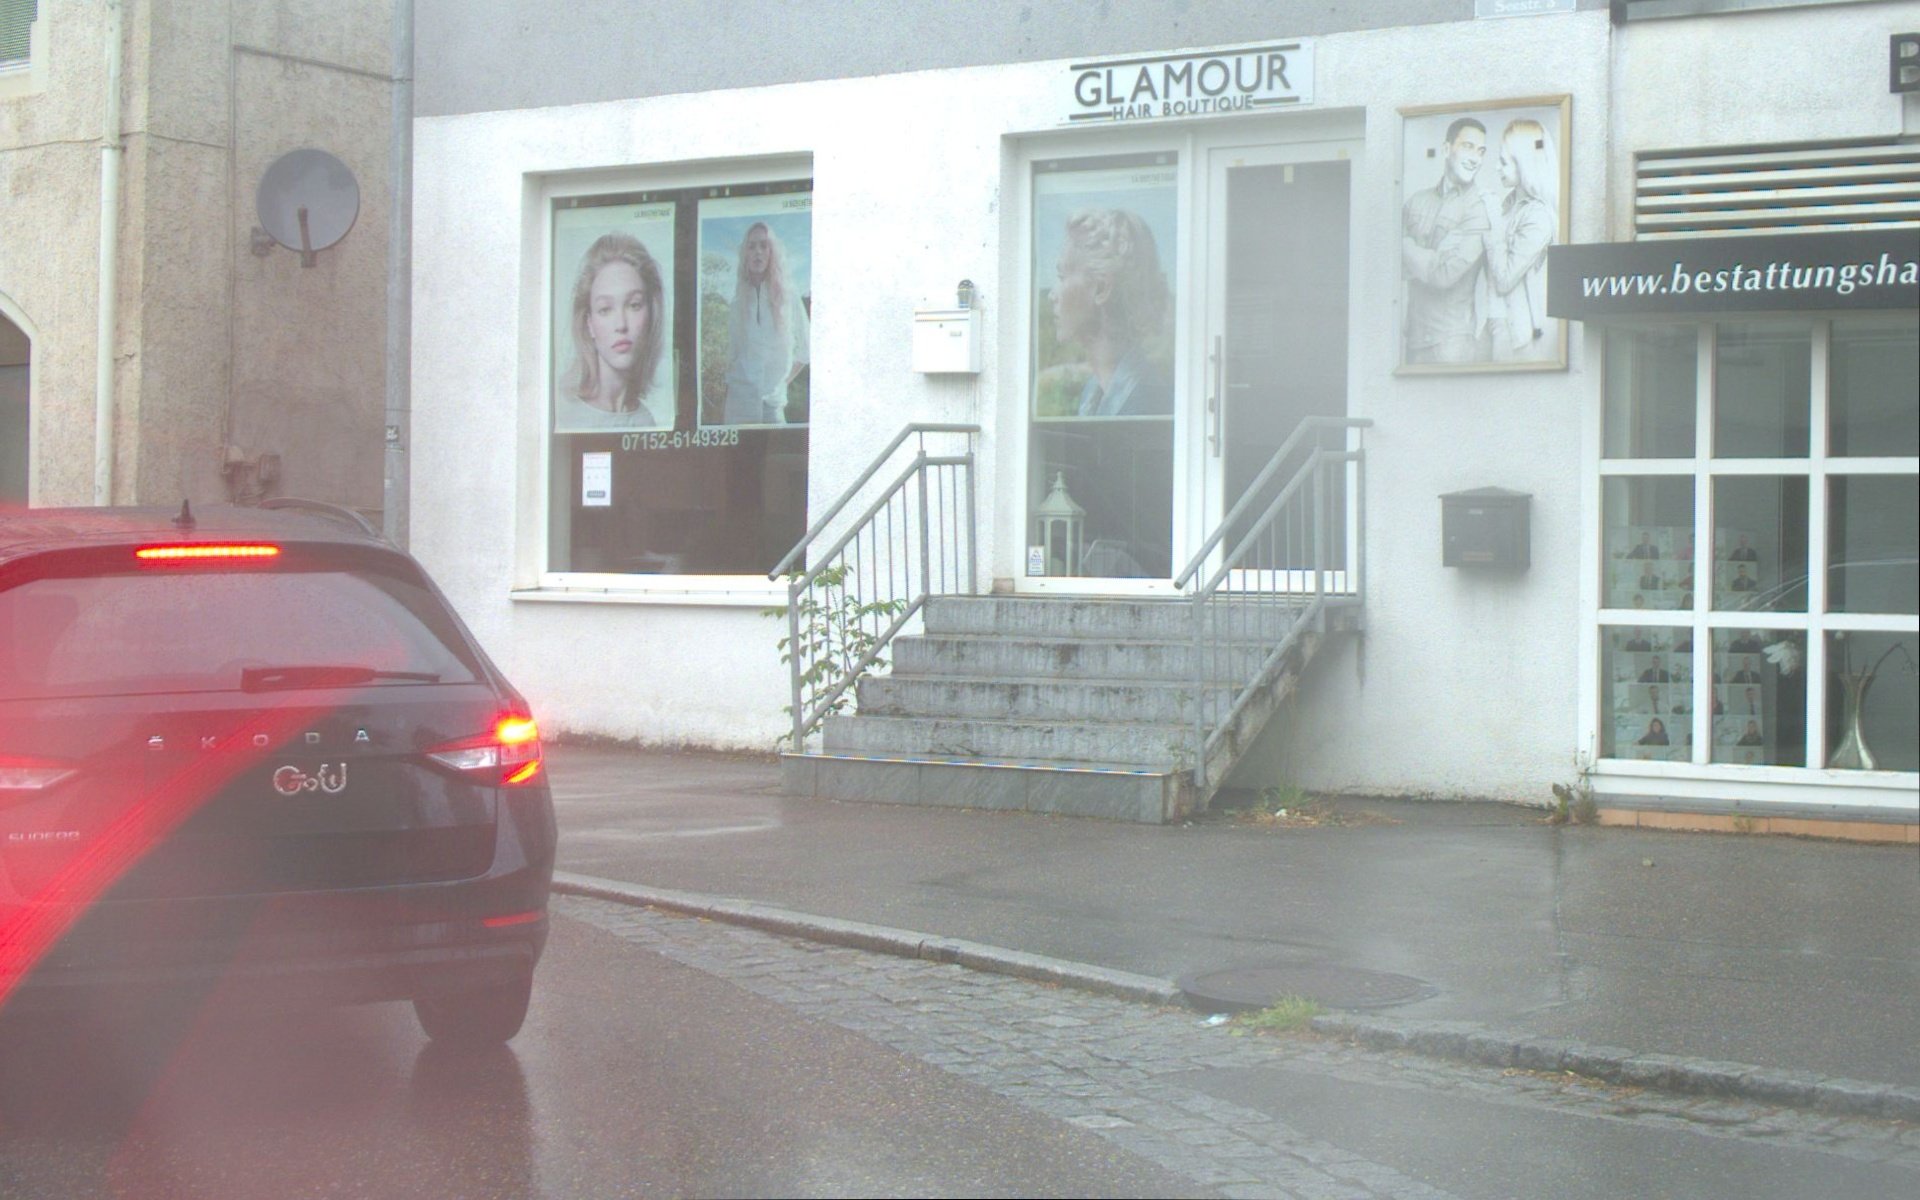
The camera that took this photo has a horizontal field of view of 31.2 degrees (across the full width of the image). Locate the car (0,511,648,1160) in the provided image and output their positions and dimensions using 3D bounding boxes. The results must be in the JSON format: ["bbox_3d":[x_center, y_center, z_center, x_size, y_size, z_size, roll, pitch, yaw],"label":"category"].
[{"bbox_3d":[-2.484,0.476,9.941,1.886,1.443,4.358,0,2,-23],"label":"car"}]

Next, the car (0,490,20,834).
[{"bbox_3d":[-5.988,0.187,15.716,1.857,1.468,3.999,2,1,-37],"label":"car"}]
